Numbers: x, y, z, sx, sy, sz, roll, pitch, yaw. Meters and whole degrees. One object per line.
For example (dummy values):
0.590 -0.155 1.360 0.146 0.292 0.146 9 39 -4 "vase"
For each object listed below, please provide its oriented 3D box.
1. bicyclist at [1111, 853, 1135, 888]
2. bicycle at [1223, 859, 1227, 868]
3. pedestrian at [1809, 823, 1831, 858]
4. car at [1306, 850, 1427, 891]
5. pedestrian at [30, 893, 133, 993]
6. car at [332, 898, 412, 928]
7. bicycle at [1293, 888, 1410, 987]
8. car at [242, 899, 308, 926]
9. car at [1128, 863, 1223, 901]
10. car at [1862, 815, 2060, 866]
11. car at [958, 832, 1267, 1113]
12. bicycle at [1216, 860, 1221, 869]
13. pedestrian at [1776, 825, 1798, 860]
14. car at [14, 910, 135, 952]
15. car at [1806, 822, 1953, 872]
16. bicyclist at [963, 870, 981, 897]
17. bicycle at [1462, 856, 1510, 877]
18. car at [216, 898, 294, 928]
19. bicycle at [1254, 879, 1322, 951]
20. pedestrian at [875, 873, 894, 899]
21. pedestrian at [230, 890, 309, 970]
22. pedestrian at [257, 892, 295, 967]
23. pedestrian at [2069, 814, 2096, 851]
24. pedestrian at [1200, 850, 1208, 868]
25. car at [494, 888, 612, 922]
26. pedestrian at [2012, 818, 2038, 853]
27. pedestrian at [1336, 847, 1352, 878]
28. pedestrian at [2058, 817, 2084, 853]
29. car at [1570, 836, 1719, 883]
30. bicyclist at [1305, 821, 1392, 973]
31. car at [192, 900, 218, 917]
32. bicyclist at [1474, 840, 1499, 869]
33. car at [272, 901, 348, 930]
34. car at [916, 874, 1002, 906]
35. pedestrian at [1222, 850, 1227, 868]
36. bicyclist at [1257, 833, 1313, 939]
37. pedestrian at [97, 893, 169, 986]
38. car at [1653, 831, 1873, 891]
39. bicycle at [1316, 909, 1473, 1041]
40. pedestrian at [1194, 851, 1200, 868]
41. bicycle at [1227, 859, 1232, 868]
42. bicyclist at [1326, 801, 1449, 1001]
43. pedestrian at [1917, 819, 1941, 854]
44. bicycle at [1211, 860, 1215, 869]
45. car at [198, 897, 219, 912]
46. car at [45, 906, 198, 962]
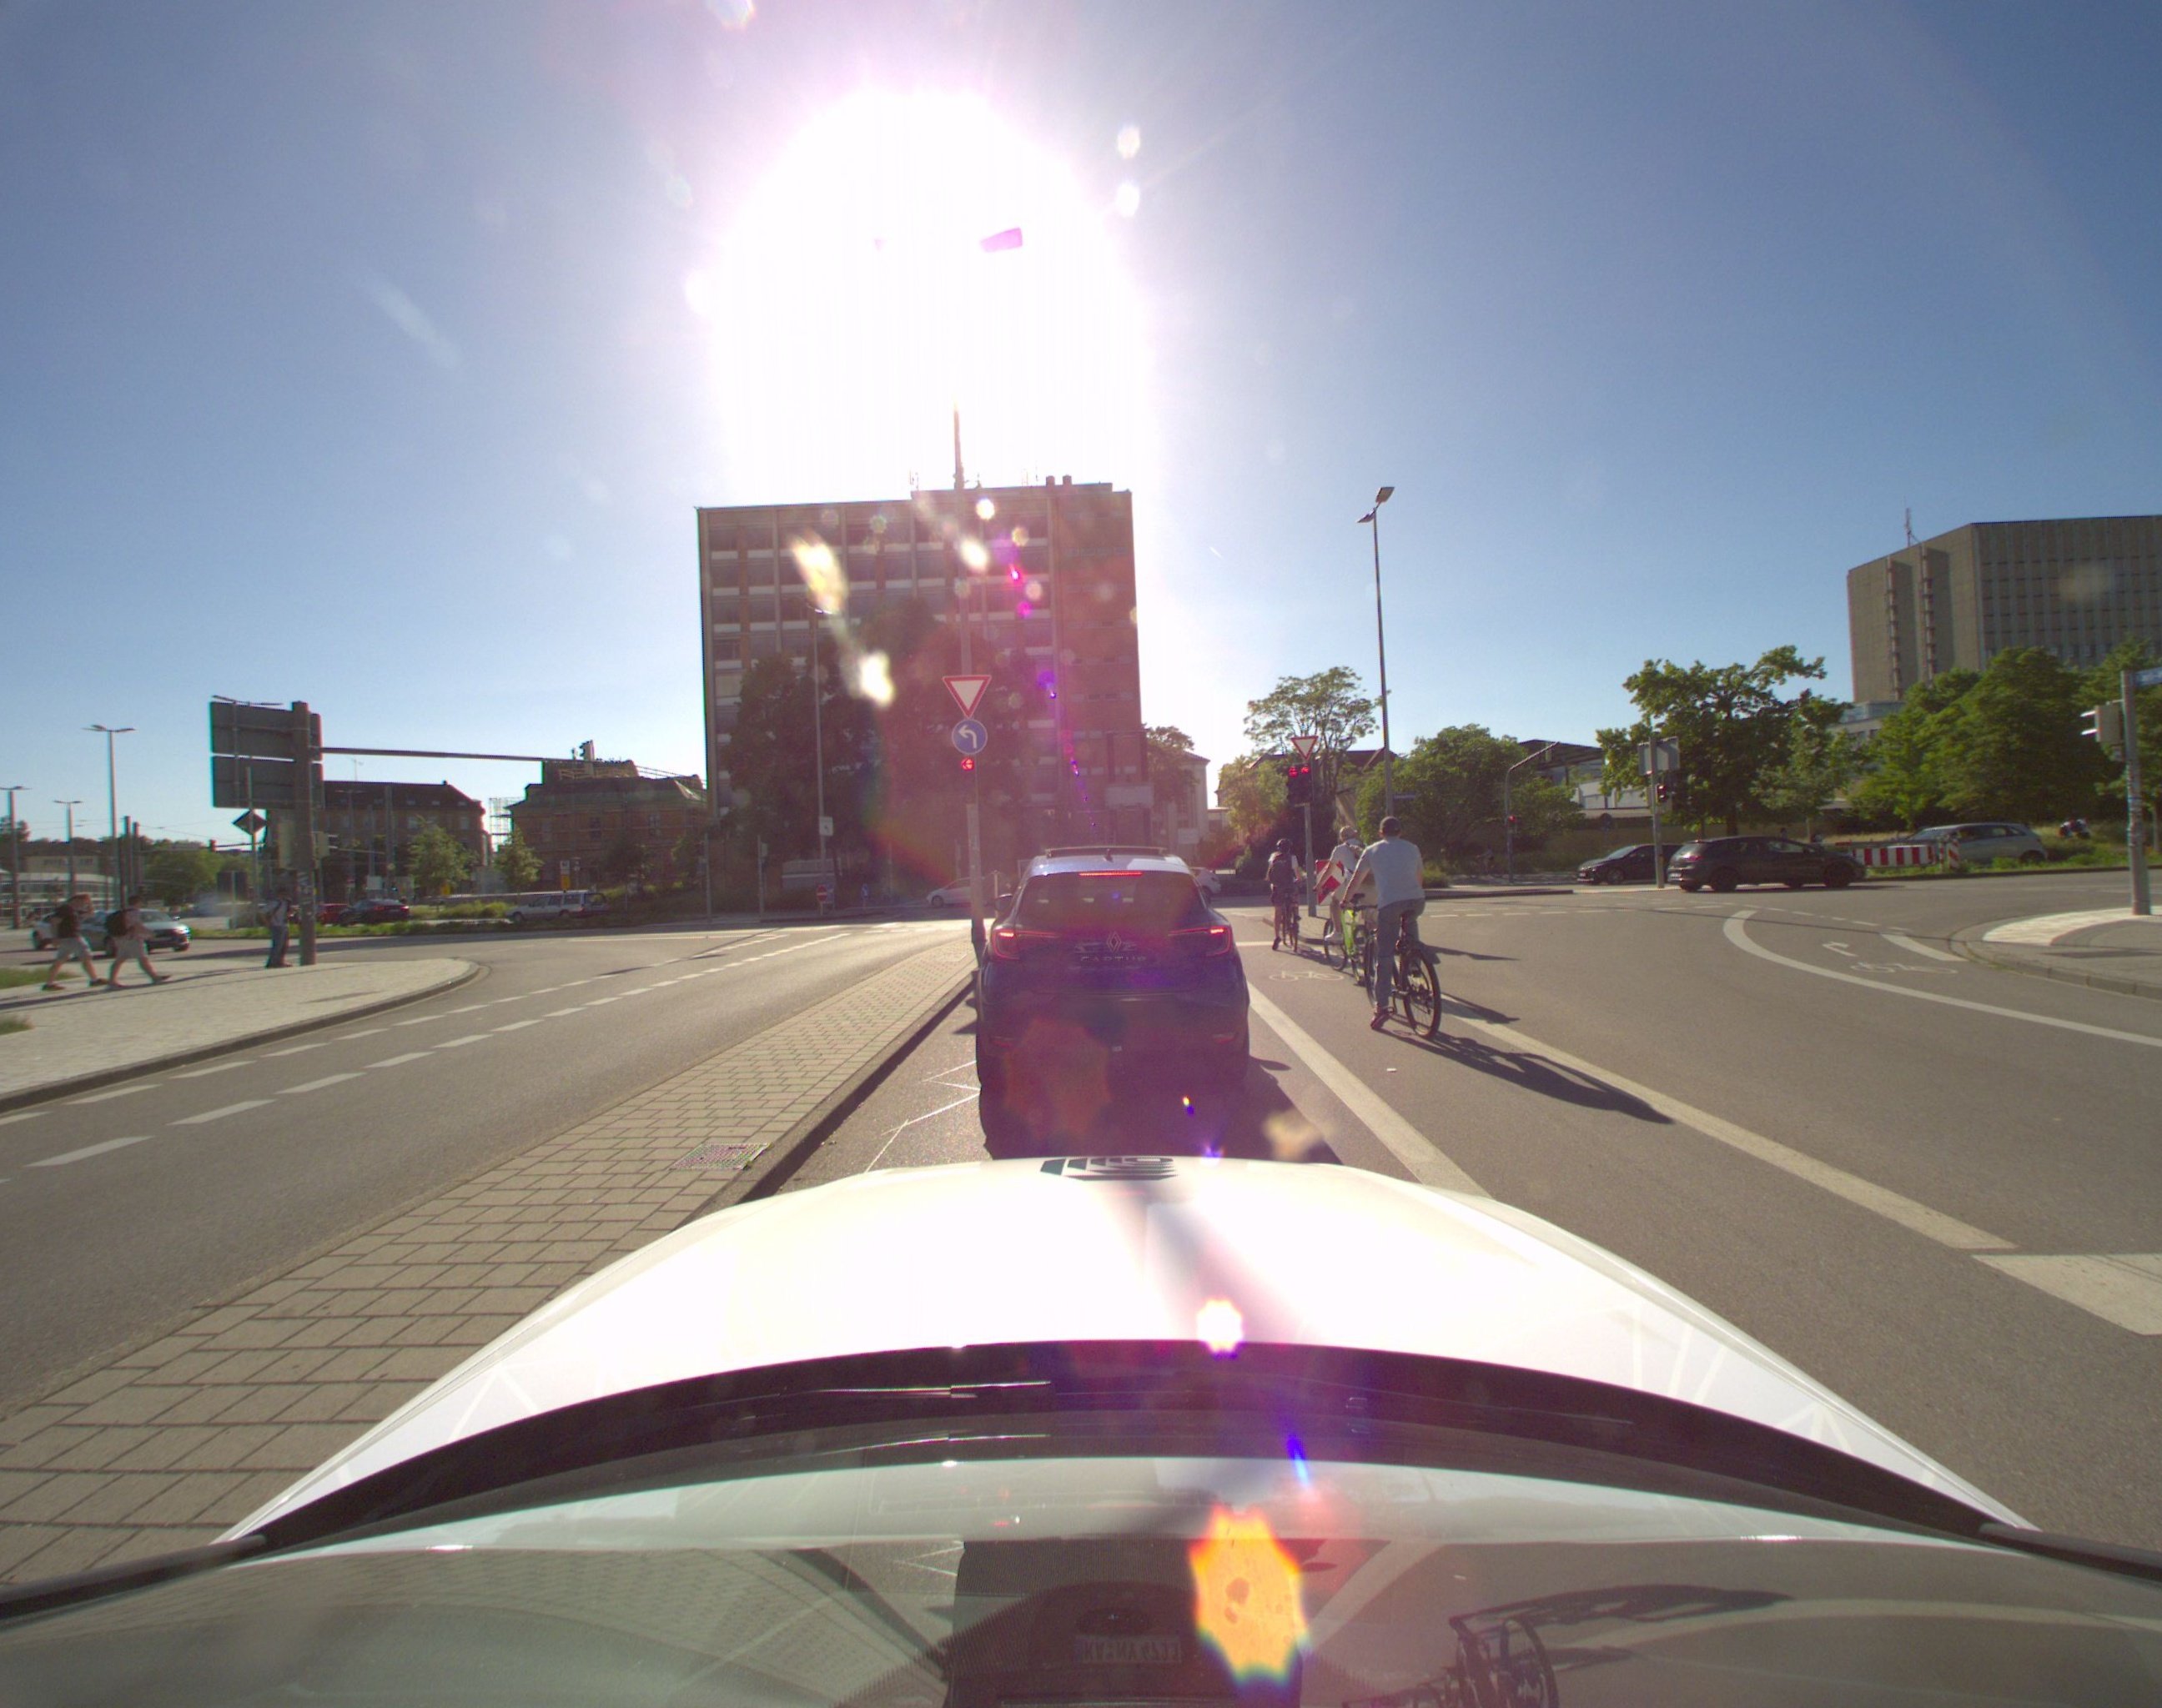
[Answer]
2.282 0.897 44.133 1.094 1.867 0.655 -3 -1 12 "bicyclist"
16.643 1.074 94.177 0.403 0.973 1.686 0 -1 6 "bicycle"
37.164 -0.674 40.959 0.559 1.695 0.528 -3 -1 5 "pedestrian"
12.592 0.731 36.222 4.793 1.632 1.849 -2 -1 10 "car"
-19.192 1.687 15.648 0.696 1.800 1.110 -6 -3 27 "pedestrian"
-42.587 3.550 48.902 4.334 1.632 1.854 -3 -1 23 "car"
3.206 0.954 9.856 0.657 1.003 1.967 0 -1 -4 "bicycle"
-53.825 3.916 54.377 4.331 1.632 1.855 -3 -1 27 "car"
3.984 1.167 34.211 3.814 1.435 1.747 -2 -1 8 "car"
28.129 -0.402 26.171 4.025 1.408 1.872 -2 -1 8 "car"
0.195 0.708 6.806 1.798 1.632 3.999 -1 0 0 "car"
15.865 1.220 93.826 0.403 0.973 1.686 0 -1 6 "bicycle"
35.089 -0.569 40.483 0.559 1.695 0.528 -3 -1 5 "pedestrian"
-45.259 3.466 36.638 4.649 1.619 1.852 -4 -3 18 "car"
33.391 -0.259 34.182 3.963 2.014 2.005 -1 -1 9 "car"
-5.899 1.594 44.057 0.741 1.441 0.593 -2 -1 -25 "bicyclist"
20.469 0.635 41.149 2.064 0.964 0.600 -3 -1 9 "bicycle"
-48.832 3.486 48.131 4.332 1.632 1.855 -3 -1 25 "car"
3.239 0.927 12.938 0.735 0.995 2.177 0 -1 6 "bicycle"
-12.260 1.990 50.739 0.853 1.571 0.562 -6 -1 18 "pedestrian"
-18.245 1.697 18.333 0.900 1.690 0.839 -4 -3 -3 "pedestrian"
-19.219 1.789 19.449 0.600 1.729 0.572 -2 -1 -45 "pedestrian"
48.365 -1.040 39.326 0.559 1.778 0.528 -2 0 5 "pedestrian"
13.301 0.538 88.213 0.626 1.856 0.558 -2 -1 -24 "pedestrian"
-25.528 2.461 39.422 4.850 1.388 1.851 -3 -1 13 "car"
46.303 -0.909 39.941 0.559 1.695 0.528 -3 -1 5 "pedestrian"
14.335 0.461 44.334 0.732 1.603 0.601 -3 -1 14 "pedestrian"
48.606 -0.926 39.992 0.559 1.695 0.528 -3 -1 5 "pedestrian"
21.748 0.214 31.608 4.344 1.632 1.850 -2 -1 11 "car"
3.207 0.493 9.854 0.644 1.739 1.065 0 -1 -4 "bicyclist"
-117.402 7.272 109.116 3.948 2.013 2.013 -3 -1 38 "car"
20.455 0.032 41.131 0.931 1.429 0.600 -2 -1 9 "bicyclist"
-48.582 3.884 51.332 4.334 1.632 1.854 -2 0 23 "car"
-6.083 1.778 40.692 3.808 1.435 1.749 -2 -2 14 "car"
16.203 0.599 92.187 0.473 2.014 0.469 -2 -1 8 "pedestrian"
3.230 0.500 12.991 0.722 1.629 0.970 0 -1 6 "bicyclist"
-18.174 1.636 15.617 0.784 1.690 0.794 -6 -3 34 "pedestrian"
17.901 0.235 21.576 4.030 1.389 1.849 -2 -3 11 "car"
2.712 1.006 7.300 0.737 0.896 1.980 0 -1 3 "bicycle"
13.015 0.625 91.626 0.609 1.856 0.468 -2 -1 7 "pedestrian"
17.177 1.070 94.177 0.403 0.973 1.686 0 -1 6 "bicycle"
2.704 0.396 7.300 0.748 1.668 1.017 0 -1 3 "bicyclist"
42.410 -0.874 40.713 0.559 1.695 0.528 -3 -1 5 "pedestrian"
15.247 1.225 93.885 0.403 0.973 1.686 0 -1 6 "bicycle"
-128.004 7.372 119.444 3.949 2.013 2.012 -3 -1 43 "car"
-33.468 2.788 28.420 4.211 1.581 1.801 -4 0 16 "car"
